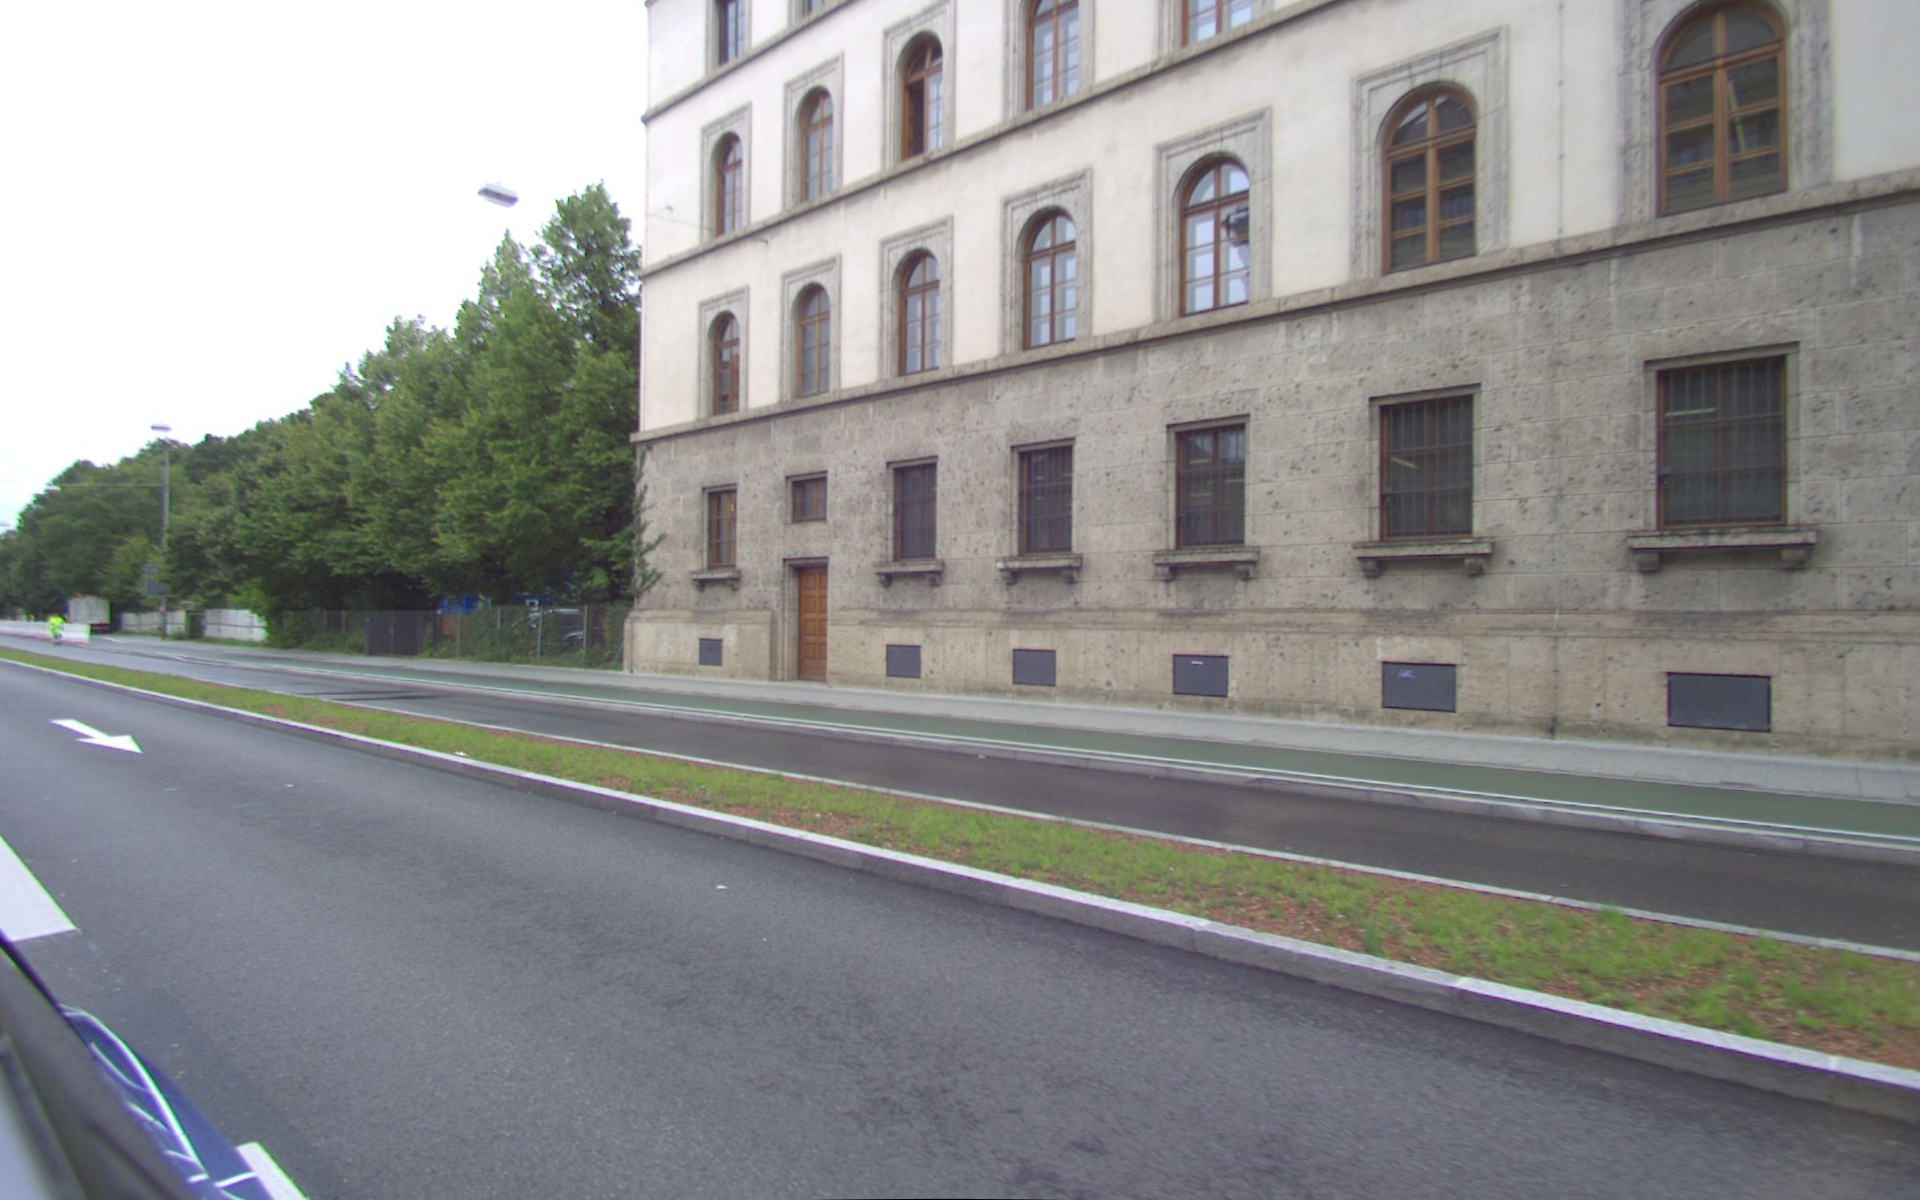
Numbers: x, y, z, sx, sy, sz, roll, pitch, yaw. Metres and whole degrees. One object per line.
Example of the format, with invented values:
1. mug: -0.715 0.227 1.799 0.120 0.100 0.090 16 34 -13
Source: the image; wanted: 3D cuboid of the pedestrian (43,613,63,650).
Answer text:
1. pedestrian: -51.165 1.757 57.095 0.867 2.029 0.748 -1 -1 41
